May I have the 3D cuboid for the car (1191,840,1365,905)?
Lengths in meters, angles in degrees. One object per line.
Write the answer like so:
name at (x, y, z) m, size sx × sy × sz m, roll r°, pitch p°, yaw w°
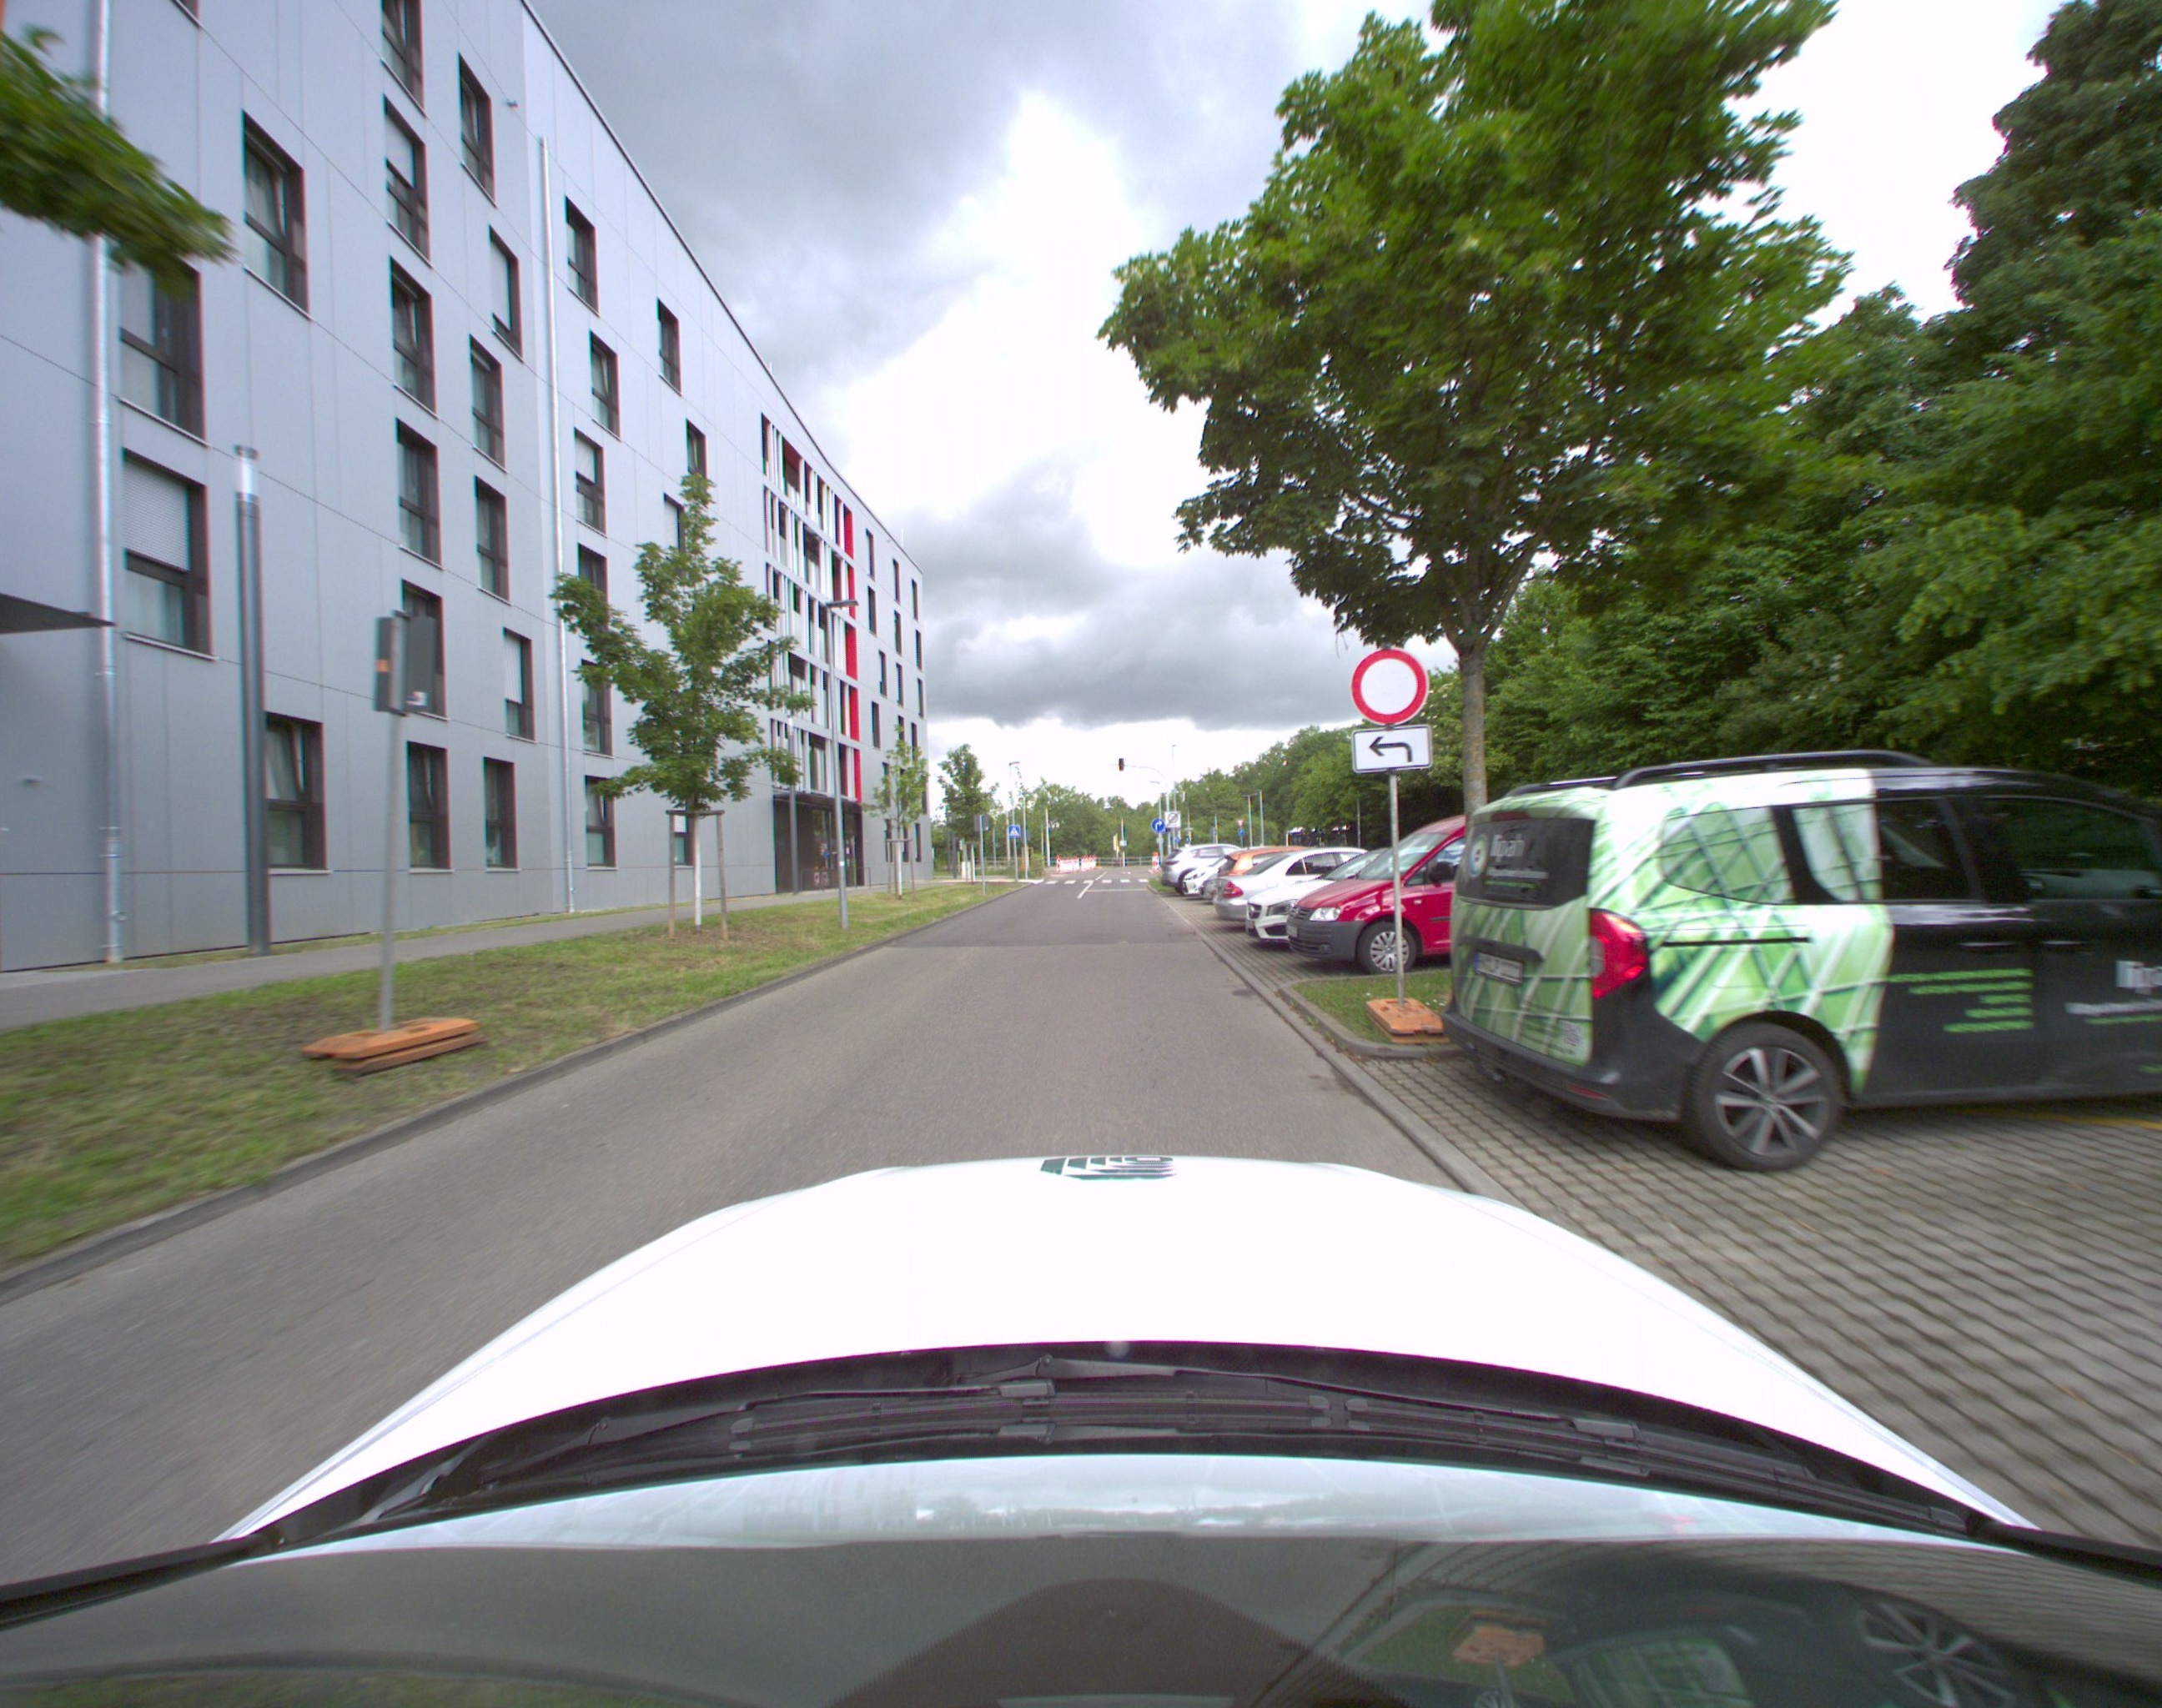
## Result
car at (5.390, 0.486, 22.658) m, size 4.365 × 1.582 × 1.916 m, roll -2°, pitch 0°, yaw -1°

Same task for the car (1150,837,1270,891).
car at (4.983, 0.374, 31.863) m, size 4.365 × 1.903 × 1.916 m, roll -2°, pitch 0°, yaw -1°

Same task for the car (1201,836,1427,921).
car at (4.961, 0.500, 17.765) m, size 4.365 × 1.617 × 1.916 m, roll -2°, pitch 0°, yaw -1°

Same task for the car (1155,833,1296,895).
car at (4.792, 0.327, 27.480) m, size 4.365 × 1.903 × 1.916 m, roll -2°, pitch 0°, yaw -1°

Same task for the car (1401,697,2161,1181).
car at (4.366, 0.290, 4.480) m, size 4.365 × 1.904 × 1.916 m, roll -4°, pitch 0°, yaw -1°

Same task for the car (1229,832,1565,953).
car at (4.626, 0.543, 12.418) m, size 4.365 × 1.573 × 1.916 m, roll -2°, pitch -1°, yaw -1°

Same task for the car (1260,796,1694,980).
car at (4.600, 0.365, 9.970) m, size 4.365 × 1.904 × 1.936 m, roll -2°, pitch 0°, yaw -1°

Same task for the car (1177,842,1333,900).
car at (5.264, 0.489, 25.076) m, size 4.365 × 1.582 × 1.916 m, roll -2°, pitch 0°, yaw -1°

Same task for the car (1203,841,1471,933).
car at (4.616, 0.573, 15.165) m, size 4.365 × 1.475 × 1.916 m, roll -2°, pitch 0°, yaw -1°
